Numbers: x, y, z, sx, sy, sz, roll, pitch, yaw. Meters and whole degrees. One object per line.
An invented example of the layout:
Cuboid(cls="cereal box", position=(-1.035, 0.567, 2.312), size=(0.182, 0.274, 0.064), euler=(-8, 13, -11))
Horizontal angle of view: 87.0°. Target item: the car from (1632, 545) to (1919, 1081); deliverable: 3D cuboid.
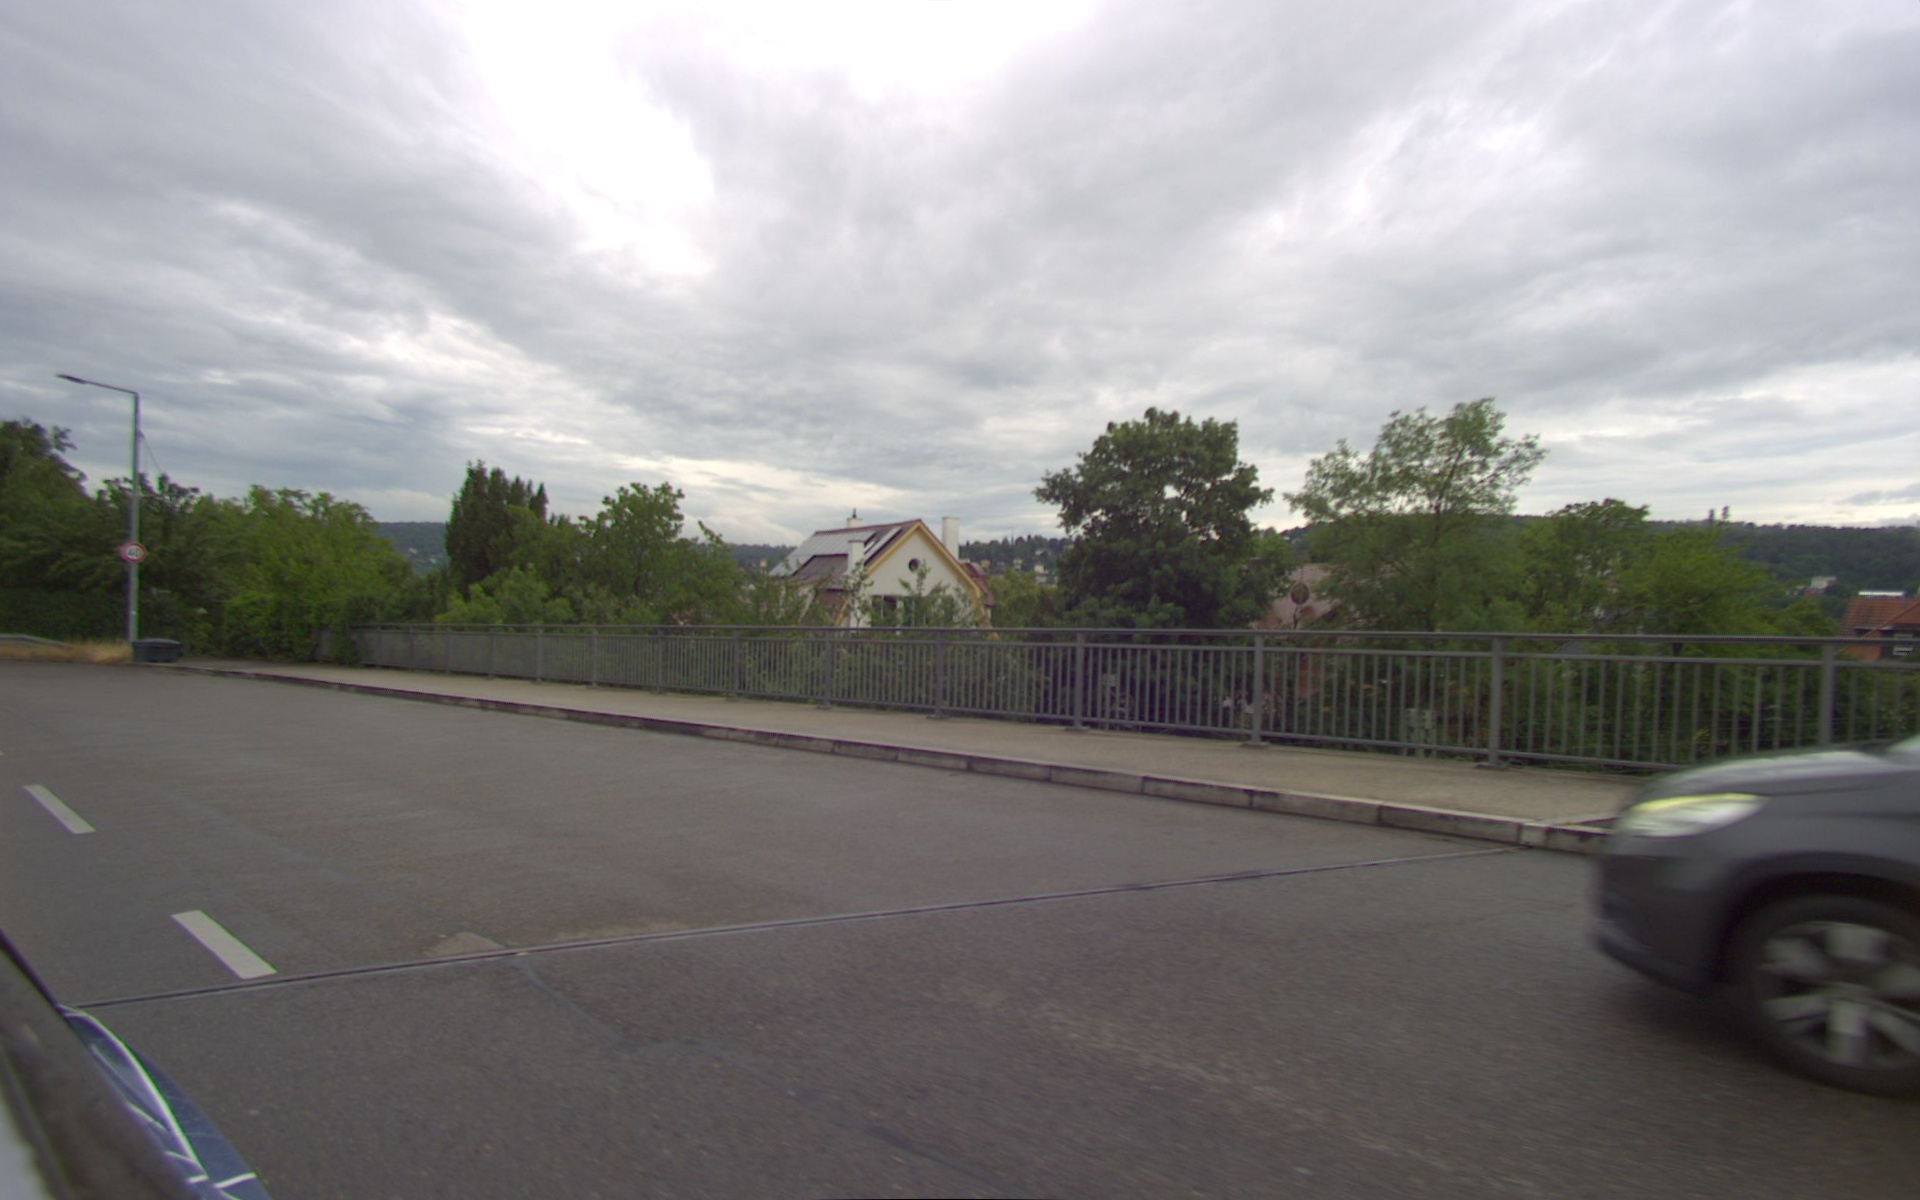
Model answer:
Cuboid(cls="car", position=(4.318, 0.624, 2.660), size=(4.001, 1.557, 1.714), euler=(-1, -3, 44))
